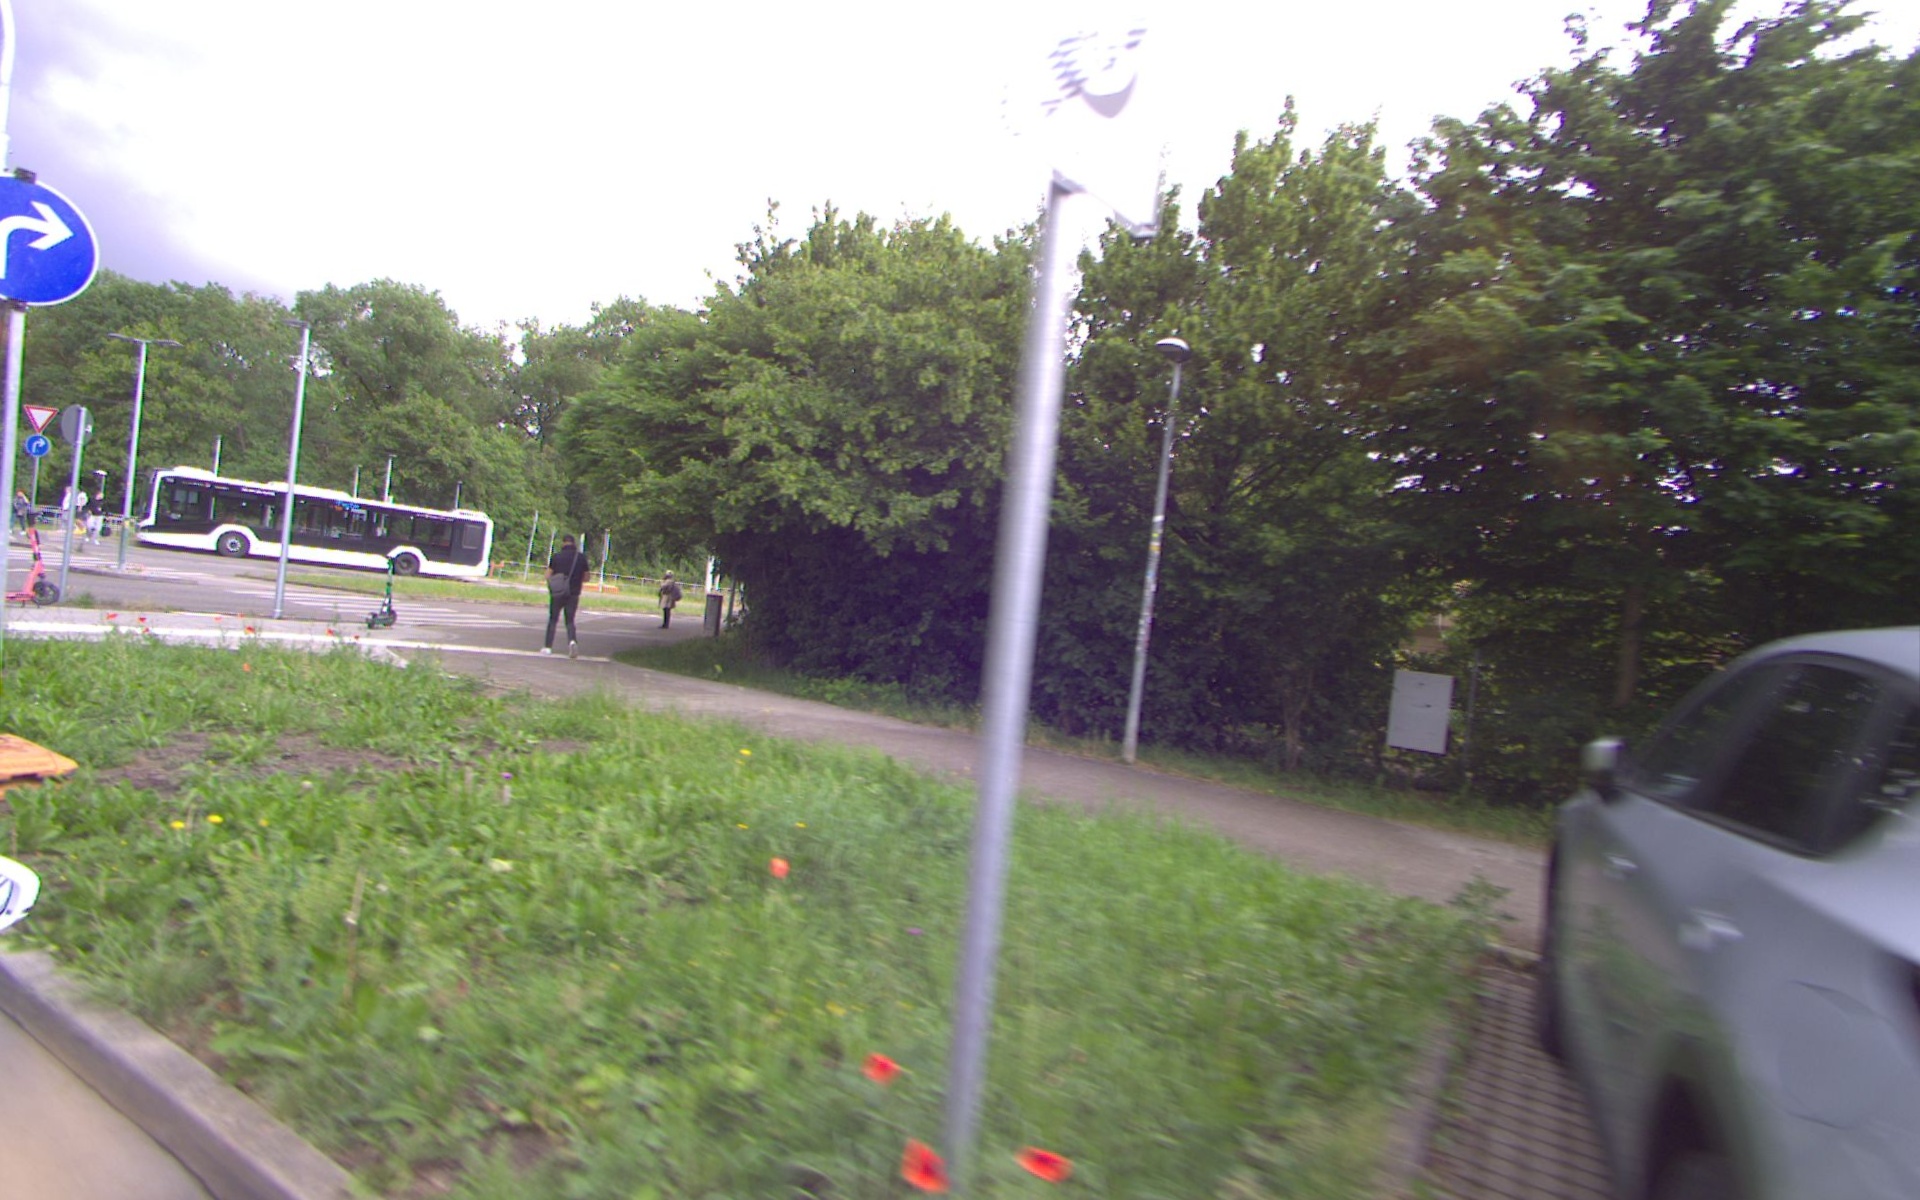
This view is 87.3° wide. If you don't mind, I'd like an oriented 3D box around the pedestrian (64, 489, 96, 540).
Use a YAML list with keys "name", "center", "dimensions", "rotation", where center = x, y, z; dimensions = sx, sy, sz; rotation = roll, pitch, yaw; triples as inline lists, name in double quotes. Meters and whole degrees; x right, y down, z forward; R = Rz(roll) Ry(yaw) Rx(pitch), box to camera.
- name: "pedestrian"
  center: [-32.735, -3.166, 37.440]
  dimensions: [0.717, 1.769, 0.946]
  rotation: [7, 0, -41]

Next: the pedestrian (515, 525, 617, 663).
- name: "pedestrian"
  center: [-5.723, -0.070, 14.669]
  dimensions: [0.841, 1.844, 0.985]
  rotation: [7, 0, 6]

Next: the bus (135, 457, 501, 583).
- name: "bus"
  center: [-25.549, -3.004, 41.007]
  dimensions: [2.640, 3.242, 12.132]
  rotation: [7, -1, 44]

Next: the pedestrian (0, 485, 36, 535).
- name: "pedestrian"
  center: [-32.000, -3.040, 34.115]
  dimensions: [0.684, 1.586, 0.727]
  rotation: [7, 0, -28]

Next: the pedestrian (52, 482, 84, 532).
- name: "pedestrian"
  center: [-33.761, -3.499, 38.083]
  dimensions: [0.717, 1.769, 0.946]
  rotation: [7, 0, -41]

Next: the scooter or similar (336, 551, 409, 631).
- name: "scooter or similar"
  center: [-10.319, -0.145, 17.720]
  dimensions: [0.612, 1.289, 1.492]
  rotation: [7, -2, -15]

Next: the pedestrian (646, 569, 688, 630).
- name: "pedestrian"
  center: [-8.240, 0.007, 28.330]
  dimensions: [0.674, 1.613, 0.772]
  rotation: [7, 0, 11]

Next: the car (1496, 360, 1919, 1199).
- name: "car"
  center: [2.603, 0.888, 2.421]
  dimensions: [2.034, 1.775, 4.655]
  rotation: [7, 1, 27]

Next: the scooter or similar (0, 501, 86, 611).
- name: "scooter or similar"
  center: [-12.067, -0.571, 12.723]
  dimensions: [0.562, 1.329, 1.526]
  rotation: [7, -1, 0]

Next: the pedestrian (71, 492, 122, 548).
- name: "pedestrian"
  center: [-29.721, -2.726, 34.642]
  dimensions: [0.946, 1.768, 1.055]
  rotation: [7, 0, -28]
